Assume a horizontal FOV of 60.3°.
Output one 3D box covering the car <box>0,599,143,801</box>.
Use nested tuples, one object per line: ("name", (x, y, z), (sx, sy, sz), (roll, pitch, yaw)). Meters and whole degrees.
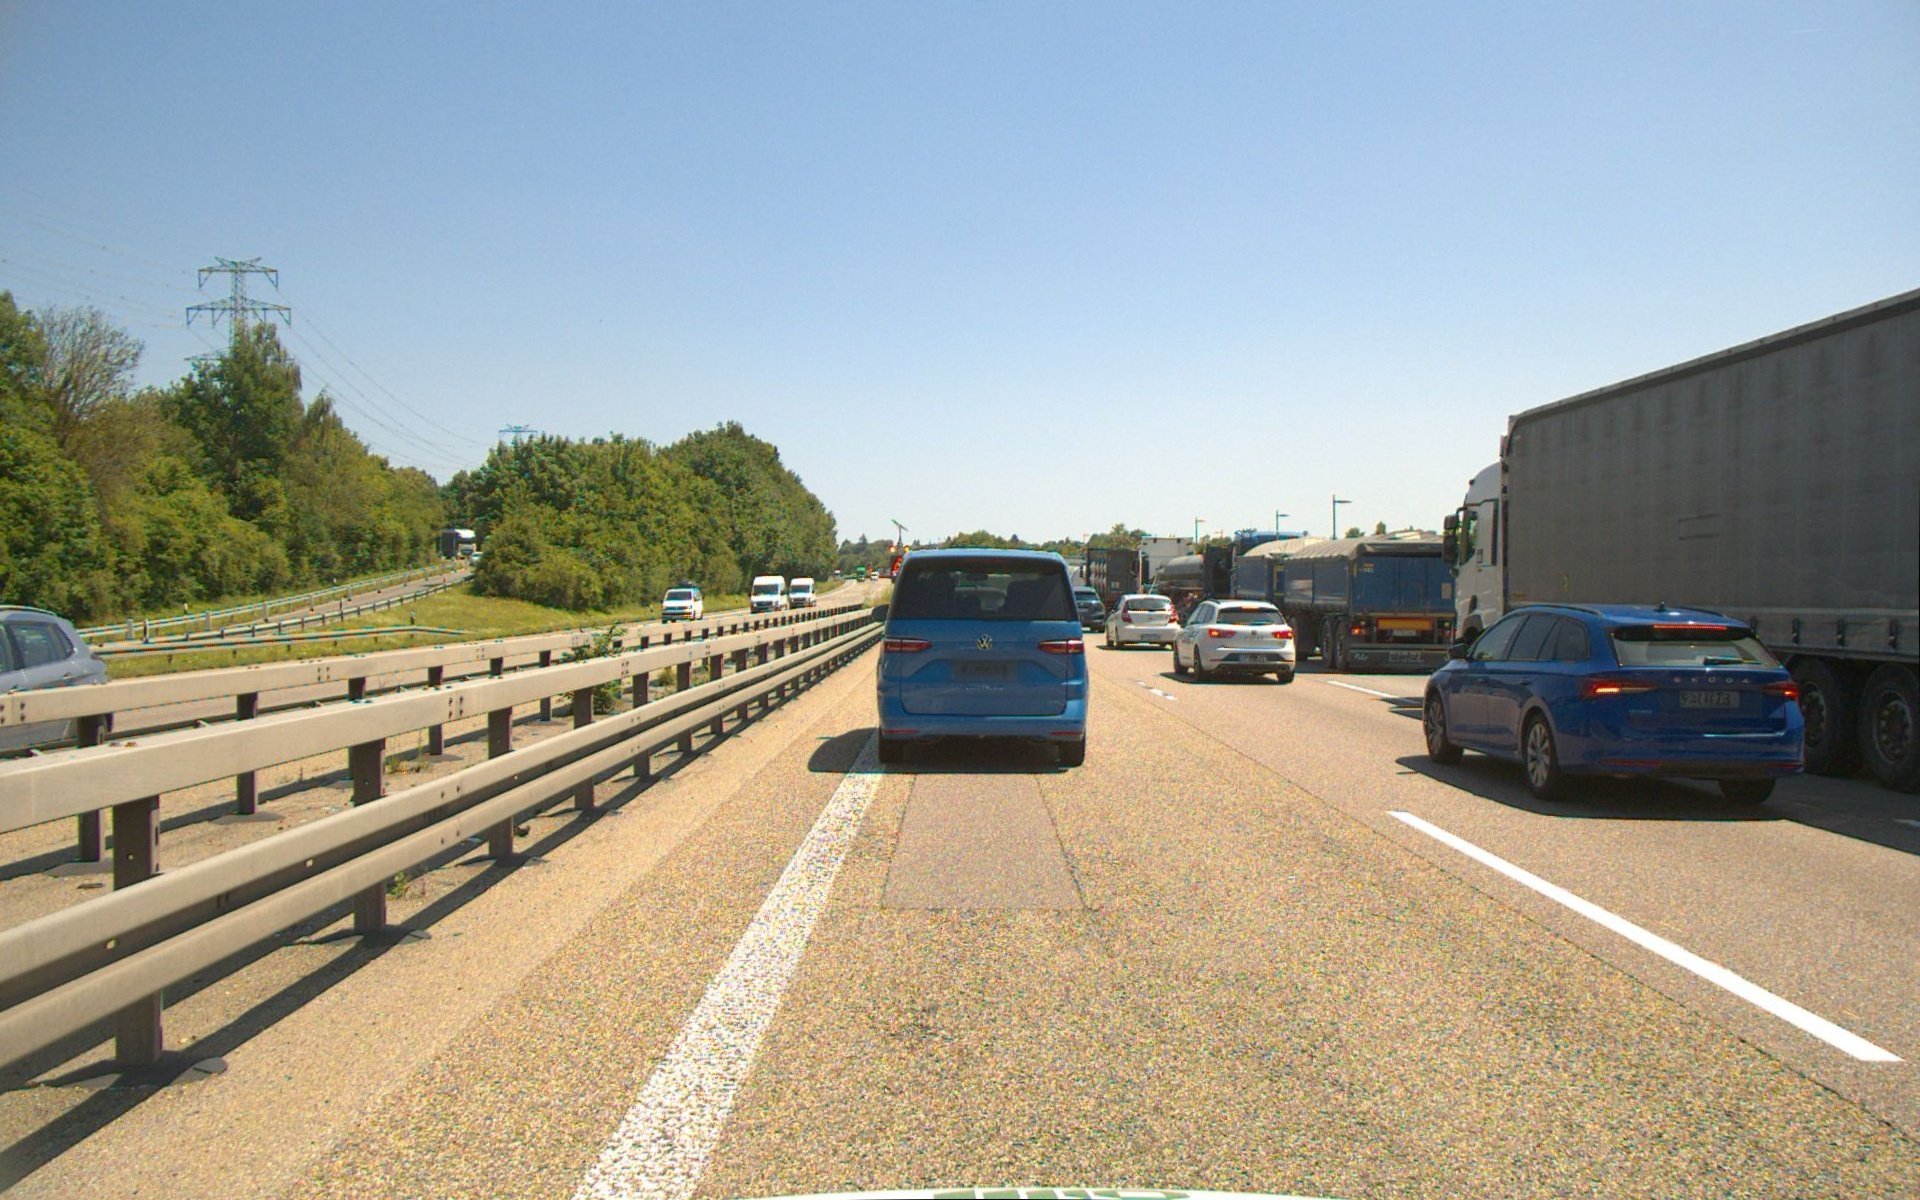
("car", (-8.819, 0.821, 14.135), (1.737, 1.659, 3.950), (1, 0, -1))

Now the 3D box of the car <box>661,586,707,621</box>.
("car", (-16.212, 0.236, 97.349), (1.827, 1.938, 5.491), (-2, 0, -2))

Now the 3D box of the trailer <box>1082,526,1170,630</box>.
("trailer", (8.971, -1.087, 91.153), (3.571, 5.226, 13.076), (1, 0, 1))

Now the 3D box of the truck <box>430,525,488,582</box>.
("truck", (-69.148, -6.313, 228.106), (4.623, 7.354, 13.503), (1, -1, -30))

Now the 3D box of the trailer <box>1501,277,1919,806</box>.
("trailer", (8.940, -0.460, 16.037), (2.901, 4.120, 13.751), (0, 0, 0))

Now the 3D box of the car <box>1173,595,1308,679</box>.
("car", (5.027, 0.629, 30.126), (1.829, 1.385, 4.001), (1, 0, 1))

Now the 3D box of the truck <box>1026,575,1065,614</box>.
("truck", (4.259, -0.262, 83.092), (1.690, 1.890, 3.999), (1, 0, 0))

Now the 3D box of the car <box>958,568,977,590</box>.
("car", (1.120, -3.198, 258.052), (2.436, 3.260, 7.367), (1, 0, -3))

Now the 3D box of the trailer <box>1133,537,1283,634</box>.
("trailer", (8.978, -0.417, 62.327), (3.571, 3.133, 15.773), (1, 0, 1))

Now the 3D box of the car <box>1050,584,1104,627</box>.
("car", (4.411, 0.206, 62.830), (1.744, 1.551, 3.999), (1, 0, 0))

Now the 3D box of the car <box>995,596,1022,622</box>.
("car", (3.826, 0.720, 131.652), (1.953, 2.049, 3.999), (1, -1, 0))

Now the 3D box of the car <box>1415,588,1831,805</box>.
("car", (5.192, 0.682, 13.641), (1.671, 1.466, 4.427), (1, 0, 0))

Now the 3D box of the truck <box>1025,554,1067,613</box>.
("truck", (7.638, -1.401, 148.178), (3.005, 5.006, 10.688), (1, 0, 0))

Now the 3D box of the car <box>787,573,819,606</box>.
("car", (-13.174, -0.839, 139.292), (2.112, 2.639, 5.889), (-1, 0, -1))

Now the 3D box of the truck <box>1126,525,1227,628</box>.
("truck", (9.249, -0.927, 71.561), (3.551, 4.166, 7.525), (1, -1, 2))

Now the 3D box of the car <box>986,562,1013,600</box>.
("car", (5.773, -2.669, 241.410), (3.154, 5.349, 8.138), (1, -1, -3))

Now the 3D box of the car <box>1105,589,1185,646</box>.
("car", (5.123, 0.492, 46.139), (1.802, 1.480, 4.000), (1, 0, 1))

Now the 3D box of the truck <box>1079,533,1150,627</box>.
("truck", (9.033, -1.133, 97.349), (3.584, 5.270, 5.708), (1, -1, 0))

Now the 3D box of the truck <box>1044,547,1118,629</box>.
("truck", (8.300, -0.746, 115.995), (3.548, 5.304, 15.683), (1, 0, -1))

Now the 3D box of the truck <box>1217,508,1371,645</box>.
("truck", (8.914, -0.650, 44.935), (2.687, 3.369, 7.133), (1, 1, 0))

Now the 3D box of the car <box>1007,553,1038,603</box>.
("car", (7.019, -2.431, 186.282), (3.152, 5.349, 8.143), (1, -1, 0))

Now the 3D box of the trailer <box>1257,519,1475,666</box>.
("trailer", (8.911, -0.237, 37.522), (2.687, 2.886, 9.116), (1, 1, 0))

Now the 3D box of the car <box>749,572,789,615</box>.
("car", (-12.512, -0.393, 108.615), (2.011, 2.697, 5.838), (-1, 0, -1))

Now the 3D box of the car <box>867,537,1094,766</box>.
("car", (0.212, 0.446, 15.814), (1.862, 1.870, 4.000), (1, 0, 1))

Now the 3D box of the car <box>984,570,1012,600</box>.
("car", (3.595, -1.425, 158.494), (2.499, 2.765, 5.620), (1, 0, 0))

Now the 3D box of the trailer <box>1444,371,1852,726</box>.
("trailer", (8.946, -0.629, 22.455), (2.864, 4.114, 6.411), (0, 0, 0))
